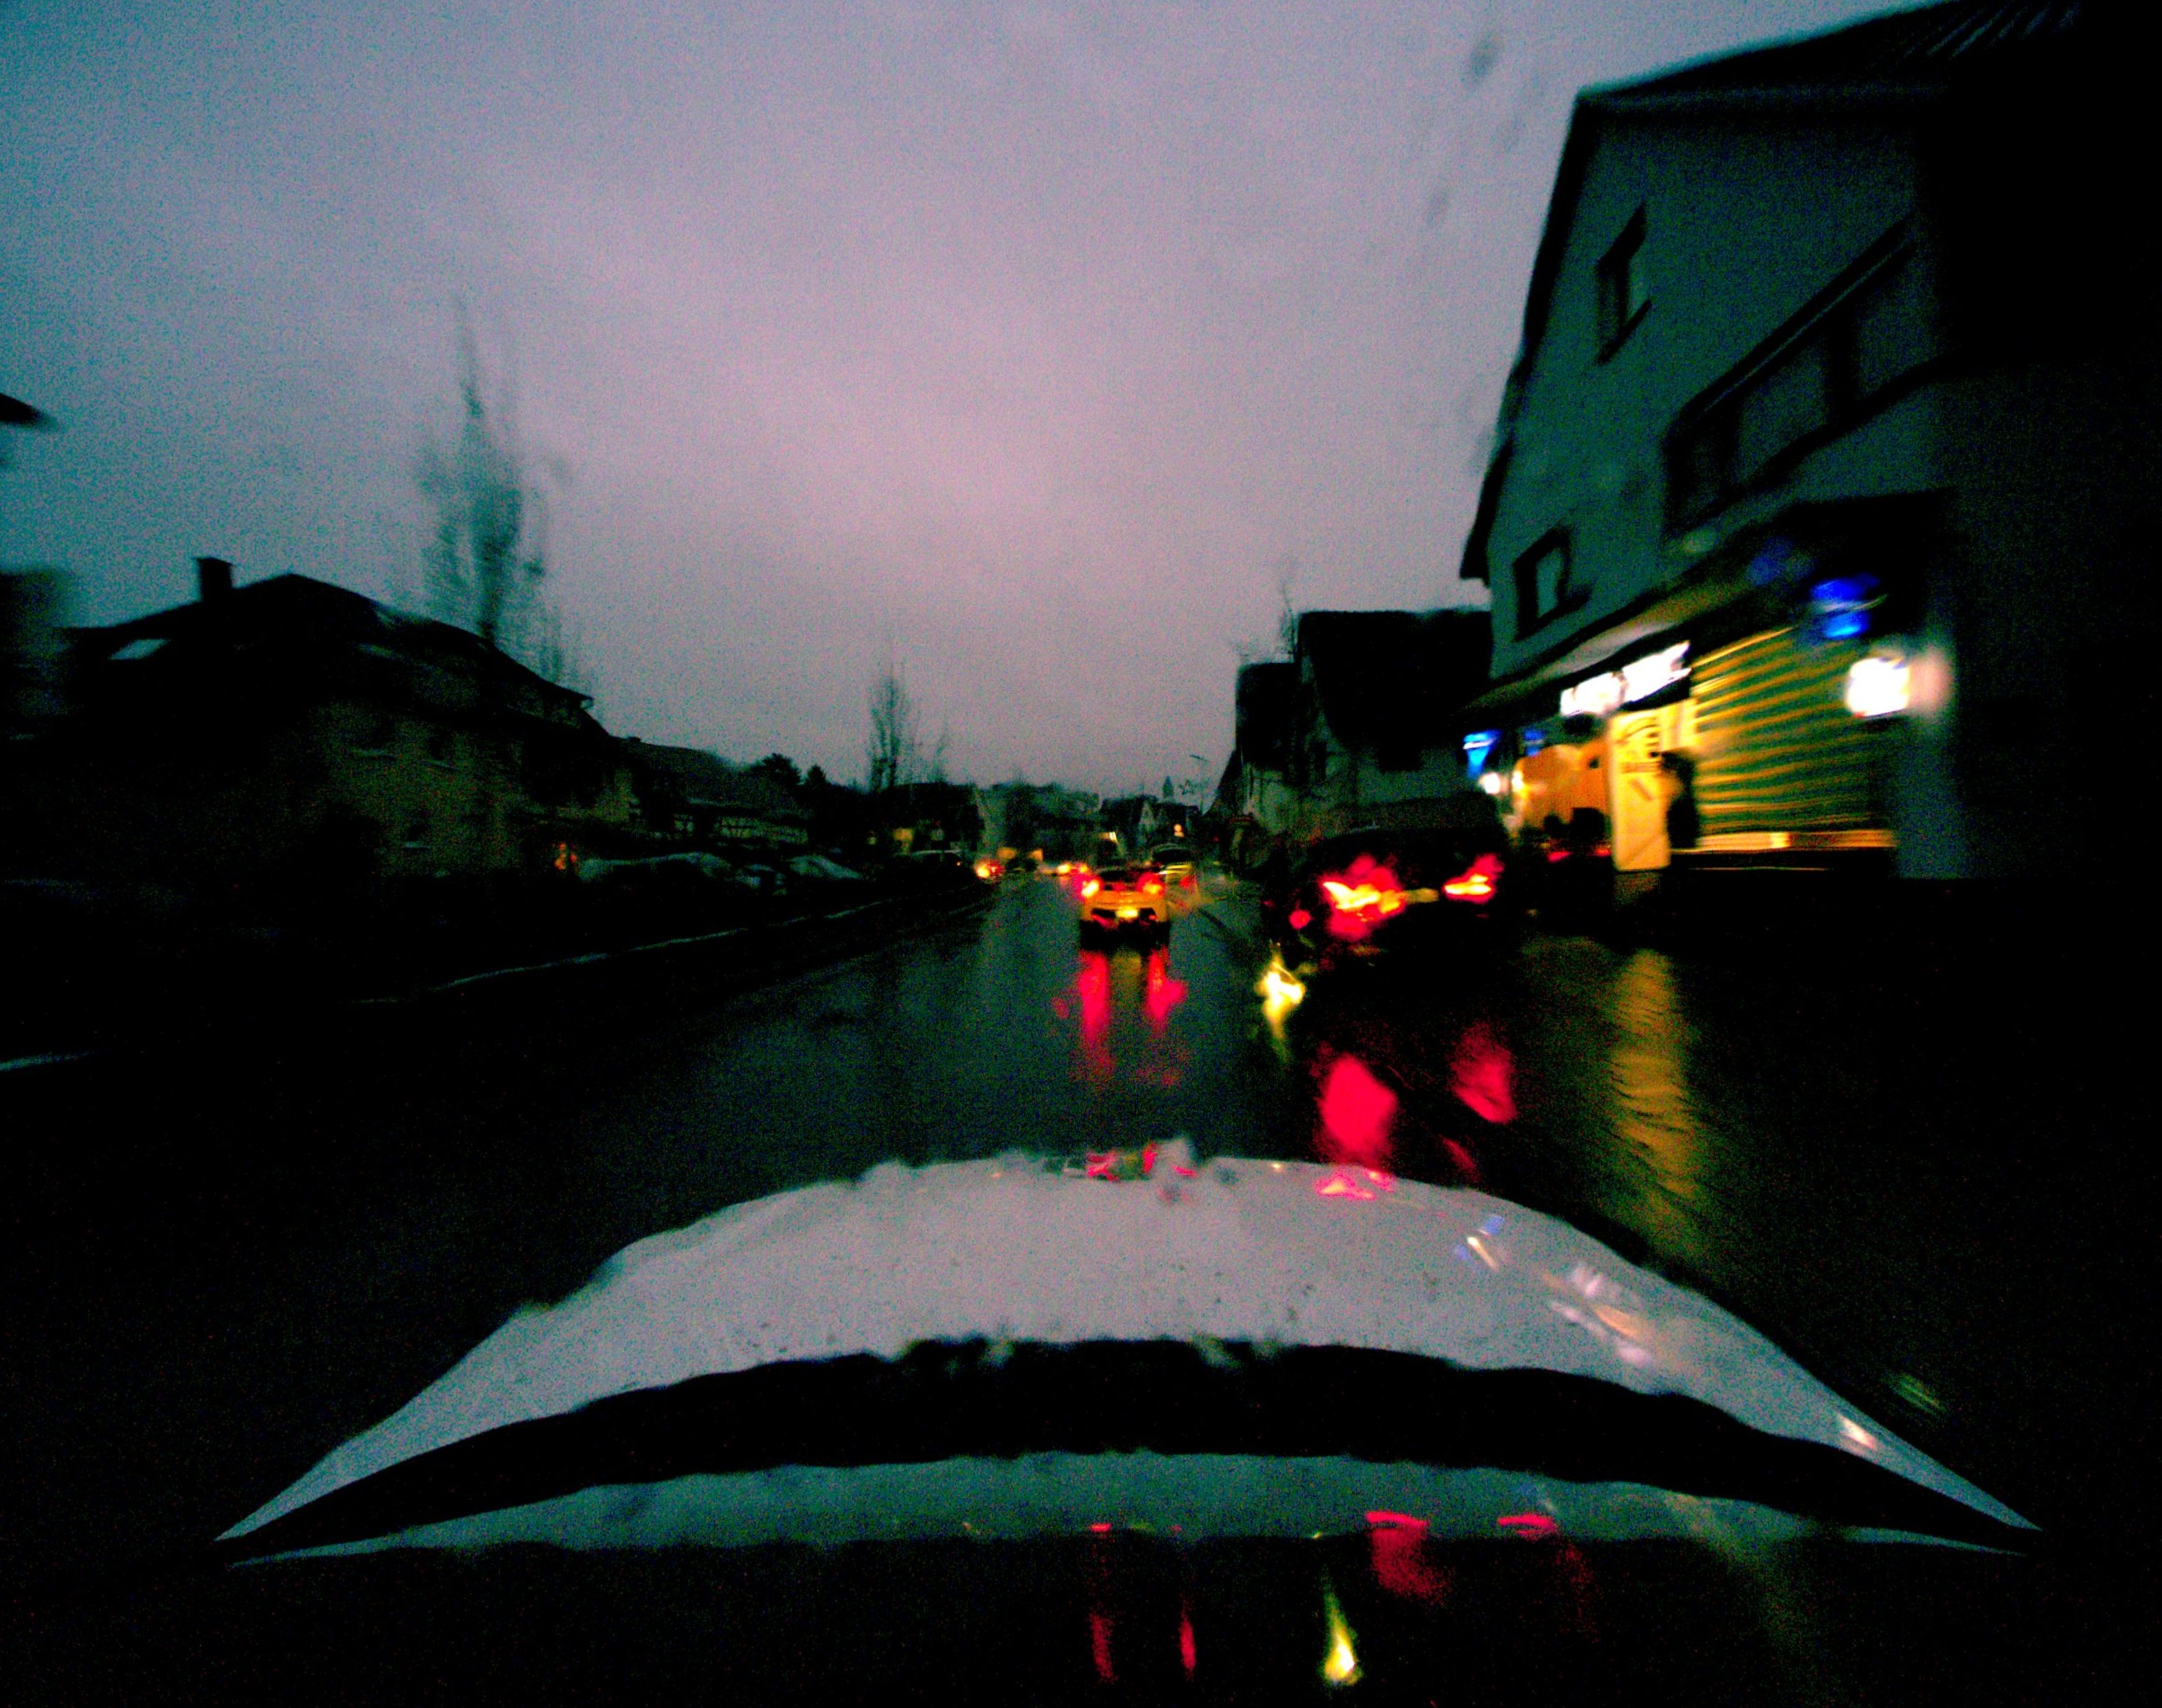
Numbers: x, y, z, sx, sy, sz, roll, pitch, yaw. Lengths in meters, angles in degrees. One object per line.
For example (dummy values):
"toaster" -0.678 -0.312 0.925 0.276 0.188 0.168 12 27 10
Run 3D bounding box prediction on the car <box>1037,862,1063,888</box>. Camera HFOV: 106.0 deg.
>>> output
"car" -2.445 1.745 65.447 1.913 2.028 3.974 0 -3 1

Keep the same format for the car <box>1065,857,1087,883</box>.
"car" -0.424 1.485 73.305 1.913 2.216 3.974 0 -3 1

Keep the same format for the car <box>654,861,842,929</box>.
"car" -8.583 1.037 21.158 4.176 1.652 1.683 -1 -1 6

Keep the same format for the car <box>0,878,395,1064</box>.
"car" -9.320 1.001 7.708 4.108 1.498 1.881 0 -3 4

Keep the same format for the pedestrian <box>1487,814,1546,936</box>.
"pedestrian" 6.312 0.303 11.834 0.614 1.727 0.503 -1 -3 14

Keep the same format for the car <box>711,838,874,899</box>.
"car" -8.410 0.425 23.906 4.145 1.644 1.661 -1 -1 6

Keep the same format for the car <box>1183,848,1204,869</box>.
"car" 10.929 0.500 79.084 1.859 1.835 4.454 -1 -3 9

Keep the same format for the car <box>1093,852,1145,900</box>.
"car" 1.425 0.755 29.408 1.758 1.628 3.590 0 0 4

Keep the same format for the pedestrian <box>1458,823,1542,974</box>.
"pedestrian" 4.960 0.514 9.680 0.570 1.700 0.653 -3 -1 4

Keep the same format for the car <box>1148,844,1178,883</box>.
"car" 5.465 0.695 54.747 1.862 2.469 4.447 0 -3 4

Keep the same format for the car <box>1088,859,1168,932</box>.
"car" 0.977 0.817 17.276 1.556 1.412 3.019 0 0 2

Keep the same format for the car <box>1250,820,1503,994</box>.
"car" 3.428 0.557 10.403 1.729 1.692 4.388 -2 -1 2

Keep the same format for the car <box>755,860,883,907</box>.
"car" -8.398 0.952 26.299 3.526 1.447 1.712 0 -1 6

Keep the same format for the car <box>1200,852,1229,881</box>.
"car" 10.908 1.052 66.965 1.984 2.249 4.004 0 -3 4

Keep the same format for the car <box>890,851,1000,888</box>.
"car" -6.982 0.754 41.863 5.355 1.818 1.719 0 -1 16

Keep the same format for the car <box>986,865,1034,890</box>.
"car" -6.368 2.122 72.370 2.011 2.167 4.332 3 -4 -44

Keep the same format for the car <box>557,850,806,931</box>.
"car" -8.873 0.796 18.405 4.610 1.667 2.000 -1 -1 0

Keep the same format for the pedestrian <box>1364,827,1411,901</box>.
"pedestrian" 6.453 0.201 17.169 0.618 1.515 0.731 -1 1 -11

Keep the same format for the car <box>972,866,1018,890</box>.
"car" -7.358 2.049 69.559 1.833 1.976 4.118 3 -4 -44

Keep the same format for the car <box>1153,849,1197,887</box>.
"car" 4.800 0.724 42.265 1.989 1.865 4.086 -1 -1 3
